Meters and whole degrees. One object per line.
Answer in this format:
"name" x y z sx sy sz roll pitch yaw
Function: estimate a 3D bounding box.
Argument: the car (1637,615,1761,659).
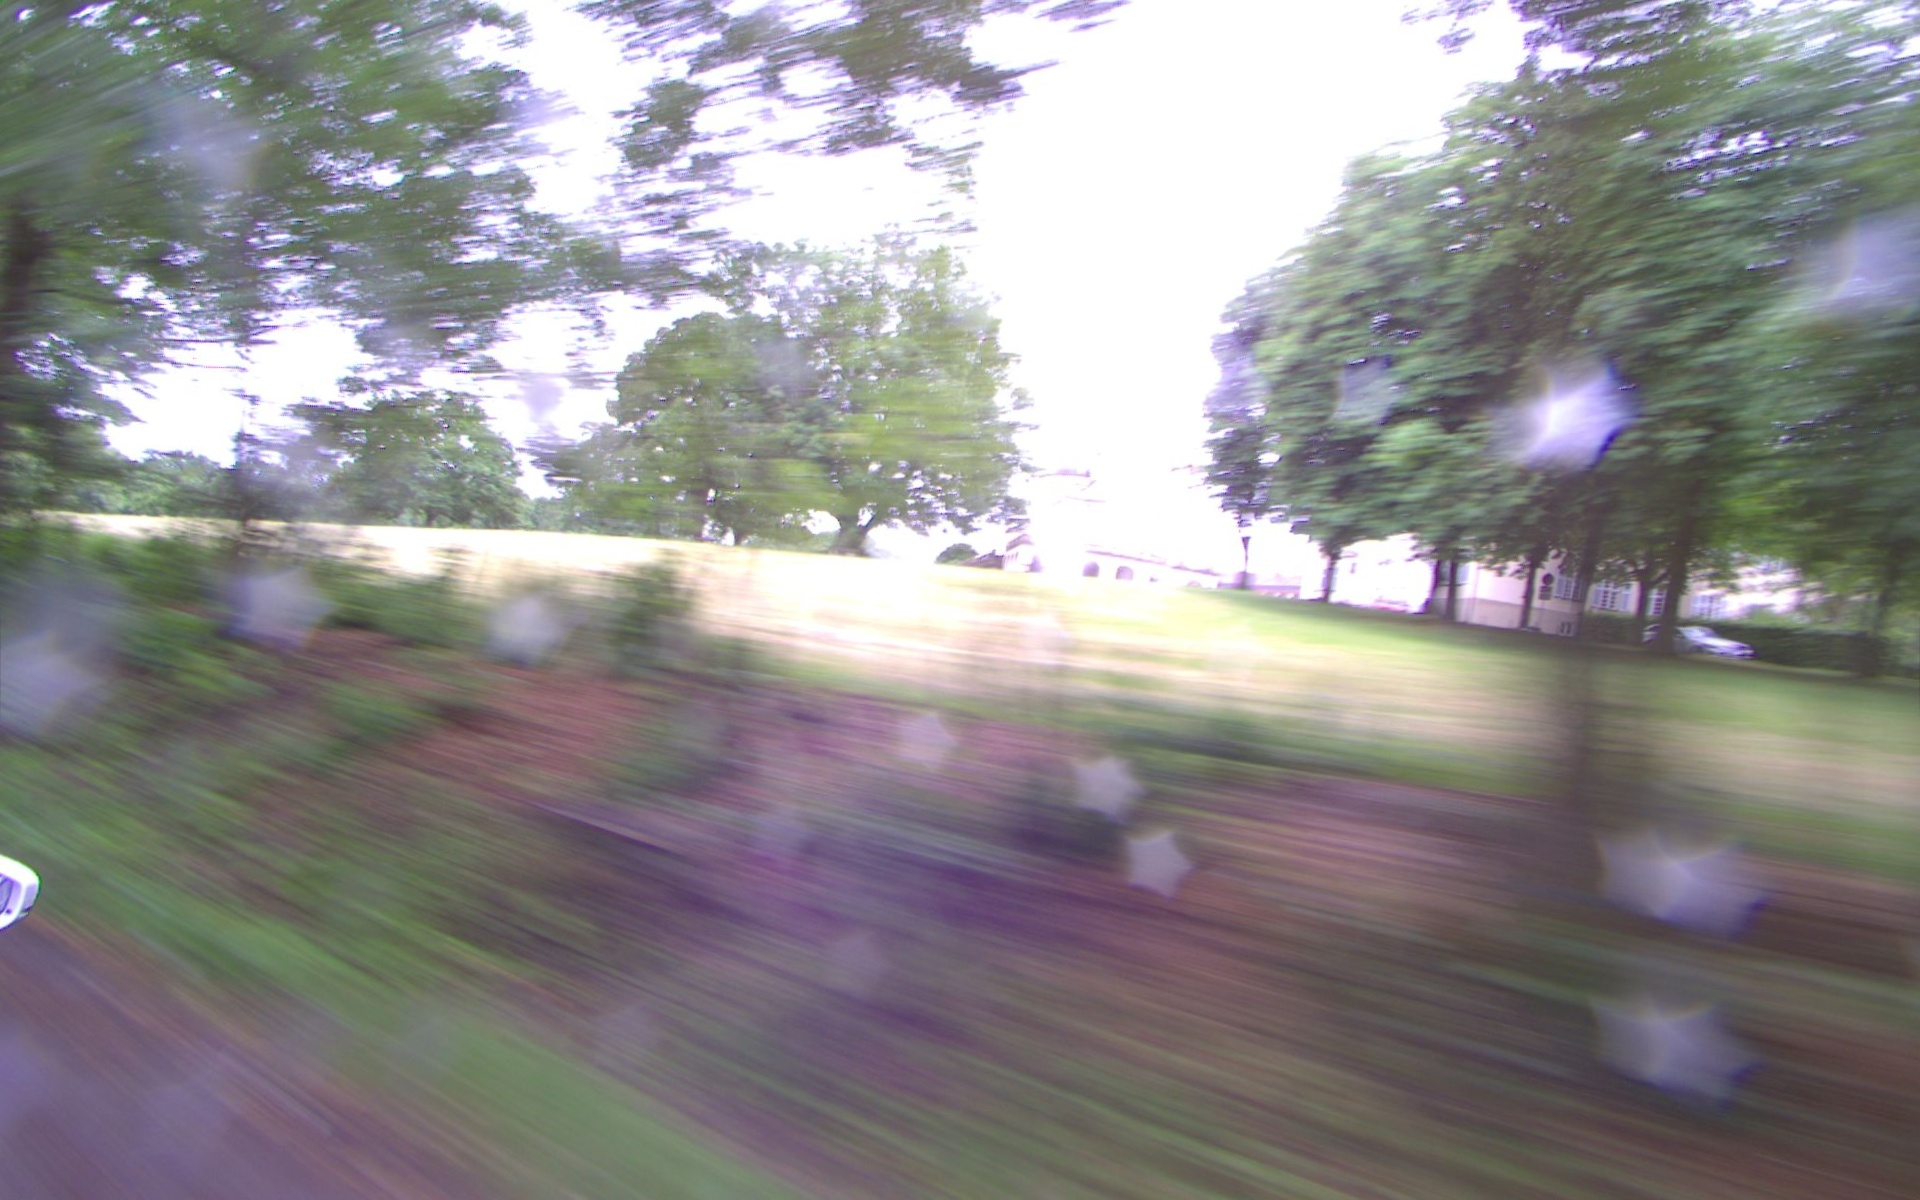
"car" 34.011 1.689 46.481 1.967 1.447 4.281 6 2 -11

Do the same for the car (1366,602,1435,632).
"car" 30.313 1.129 69.439 1.965 1.572 5.052 6 2 -7
